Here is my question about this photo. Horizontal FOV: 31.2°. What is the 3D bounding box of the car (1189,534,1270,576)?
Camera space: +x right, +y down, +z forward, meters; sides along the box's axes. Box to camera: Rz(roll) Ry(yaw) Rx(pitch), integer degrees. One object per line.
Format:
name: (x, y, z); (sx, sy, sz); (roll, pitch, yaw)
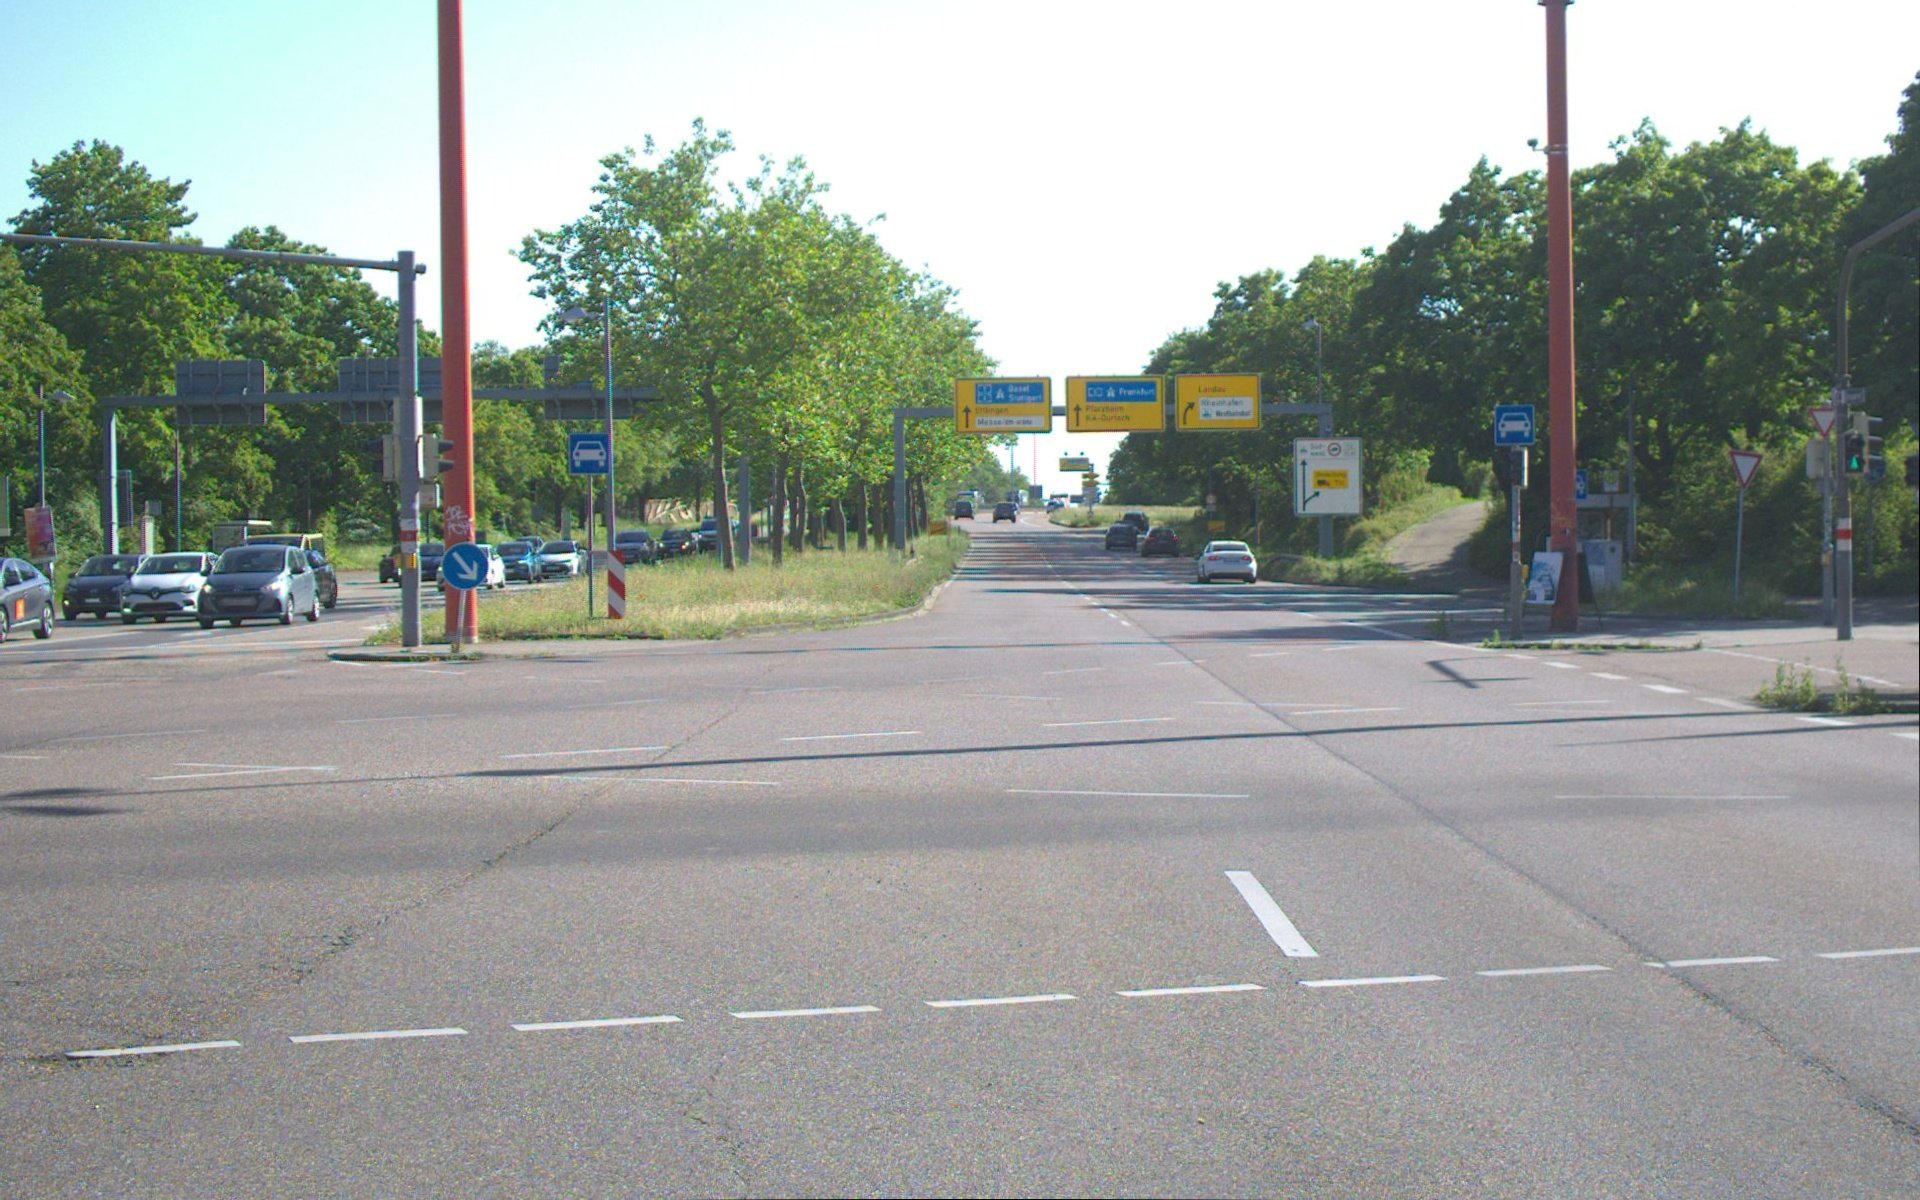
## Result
car: (8.986, -1.527, 114.873); (2.054, 1.366, 4.393); (-1, 1, -4)

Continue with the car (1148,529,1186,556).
car: (10.291, -2.863, 171.379); (1.738, 1.337, 3.081); (0, 1, 1)

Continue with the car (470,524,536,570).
car: (-15.939, -1.838, 120.106); (1.704, 1.553, 3.803); (0, 1, 1)

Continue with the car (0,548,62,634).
car: (-16.392, -0.168, 57.623); (1.548, 1.372, 4.263); (0, 1, 0)

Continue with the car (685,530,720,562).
car: (-14.498, -3.035, 193.560); (1.608, 1.724, 3.789); (0, 1, 1)

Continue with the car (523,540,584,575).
car: (-15.591, -1.629, 131.928); (2.003, 1.303, 4.001); (-1, 1, -2)

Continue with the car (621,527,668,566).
car: (-14.218, -2.432, 155.030); (1.625, 1.733, 4.000); (0, 1, 1)

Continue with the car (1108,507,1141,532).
car: (10.530, -5.137, 220.401); (1.993, 1.535, 4.000); (0, 1, 1)

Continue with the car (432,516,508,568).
car: (-15.457, -1.831, 108.545); (1.704, 1.590, 4.000); (1, 1, 2)

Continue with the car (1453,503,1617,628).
car: (9.043, -0.557, 53.848); (1.995, 1.881, 3.997); (0, 1, 17)

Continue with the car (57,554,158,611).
car: (-19.541, -0.409, 78.915); (1.453, 1.269, 3.613); (0, 1, -1)

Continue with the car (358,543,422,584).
car: (-23.233, -1.503, 140.199); (1.993, 1.633, 4.000); (0, 1, -1)

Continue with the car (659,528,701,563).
car: (-14.077, -2.738, 173.191); (1.657, 1.741, 4.000); (0, 1, 2)

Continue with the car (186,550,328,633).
car: (-13.000, -0.167, 63.796); (1.701, 1.416, 4.000); (2, 1, 1)

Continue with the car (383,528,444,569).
car: (-19.759, -1.872, 124.386); (1.628, 1.445, 3.434); (0, 1, 0)

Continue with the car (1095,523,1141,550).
car: (8.954, -3.616, 194.999); (1.993, 1.491, 4.001); (-1, 1, -6)

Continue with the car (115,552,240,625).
car: (-16.223, -0.263, 71.436); (1.605, 1.454, 3.950); (-1, 1, 1)
